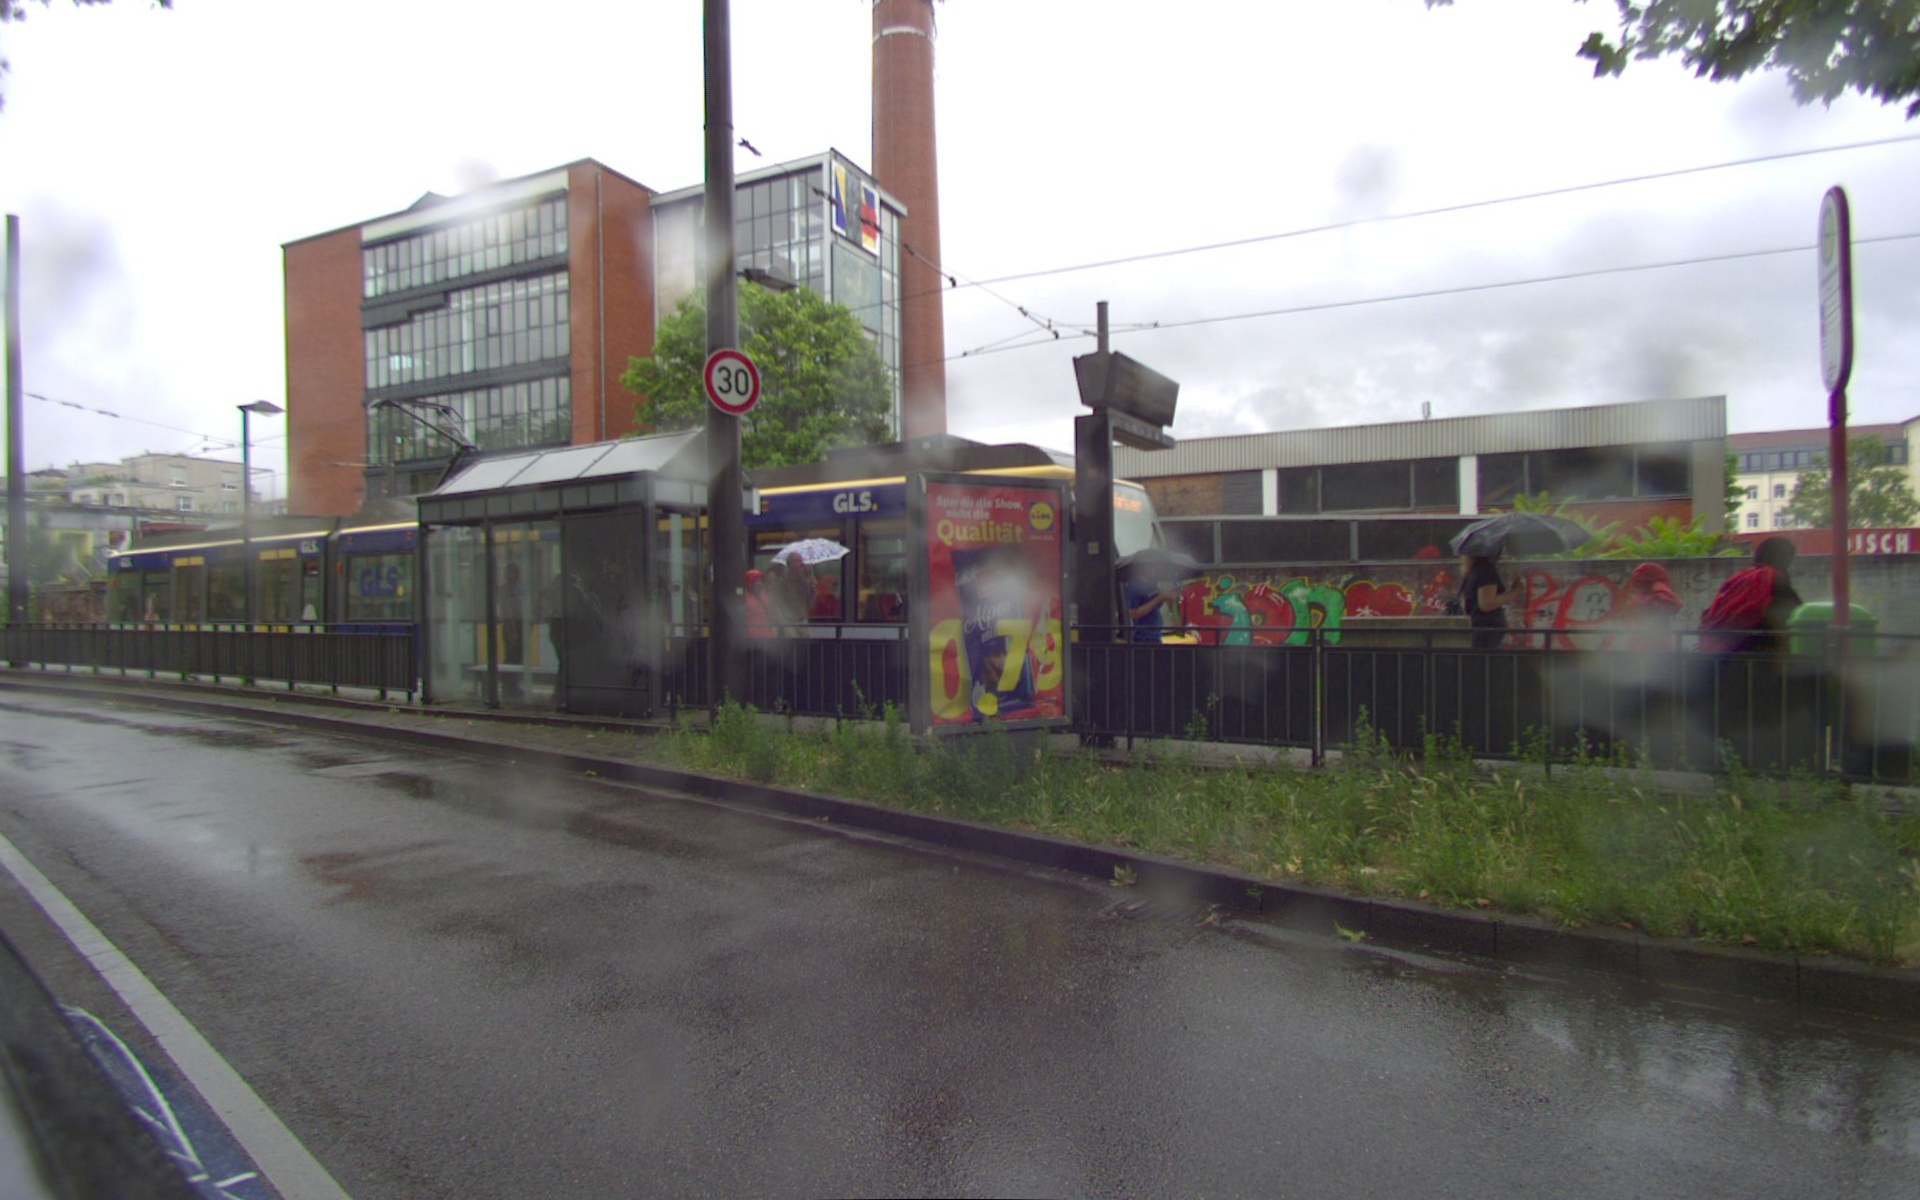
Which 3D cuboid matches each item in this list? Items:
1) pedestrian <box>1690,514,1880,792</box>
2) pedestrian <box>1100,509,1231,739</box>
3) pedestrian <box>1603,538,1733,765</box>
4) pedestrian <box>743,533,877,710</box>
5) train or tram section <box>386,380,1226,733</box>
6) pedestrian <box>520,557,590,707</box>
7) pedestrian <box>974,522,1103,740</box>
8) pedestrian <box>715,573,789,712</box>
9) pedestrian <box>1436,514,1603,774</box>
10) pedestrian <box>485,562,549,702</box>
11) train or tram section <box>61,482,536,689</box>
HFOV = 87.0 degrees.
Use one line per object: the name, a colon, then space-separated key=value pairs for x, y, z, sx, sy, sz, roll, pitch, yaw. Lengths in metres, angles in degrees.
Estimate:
pedestrian: x=5.243 y=0.329 z=6.498 sx=0.815 sy=1.637 sz=0.723 roll=-3 pitch=-2 yaw=34
pedestrian: x=1.813 y=0.200 z=8.881 sx=0.888 sy=1.878 sz=0.863 roll=-1 pitch=0 yaw=29
pedestrian: x=5.074 y=0.354 z=7.292 sx=0.656 sy=1.531 sz=0.677 roll=-1 pitch=-1 yaw=28
pedestrian: x=-1.662 y=0.268 z=11.237 sx=1.072 sy=1.840 sz=0.975 roll=-4 pitch=-4 yaw=30
train or tram section: x=-3.256 y=-0.342 z=15.010 sx=13.666 sy=3.572 sz=2.839 roll=-1 pitch=0 yaw=31
pedestrian: x=-4.916 y=0.377 z=12.276 sx=0.620 sy=1.762 sz=0.565 roll=-1 pitch=0 yaw=-41
pedestrian: x=0.694 y=0.254 z=8.778 sx=0.826 sy=1.768 sz=0.860 roll=-1 pitch=0 yaw=26
pedestrian: x=-2.475 y=0.513 z=12.111 sx=0.651 sy=1.584 sz=0.797 roll=-2 pitch=-3 yaw=4
pedestrian: x=3.876 y=0.310 z=7.081 sx=0.651 sy=1.696 sz=0.797 roll=-2 pitch=-3 yaw=4
pedestrian: x=-5.721 y=0.398 z=13.083 sx=0.620 sy=1.762 sz=0.515 roll=-1 pitch=0 yaw=-41
train or tram section: x=-15.568 y=-0.139 z=22.779 sx=15.323 sy=3.572 sz=2.838 roll=-1 pitch=0 yaw=32
